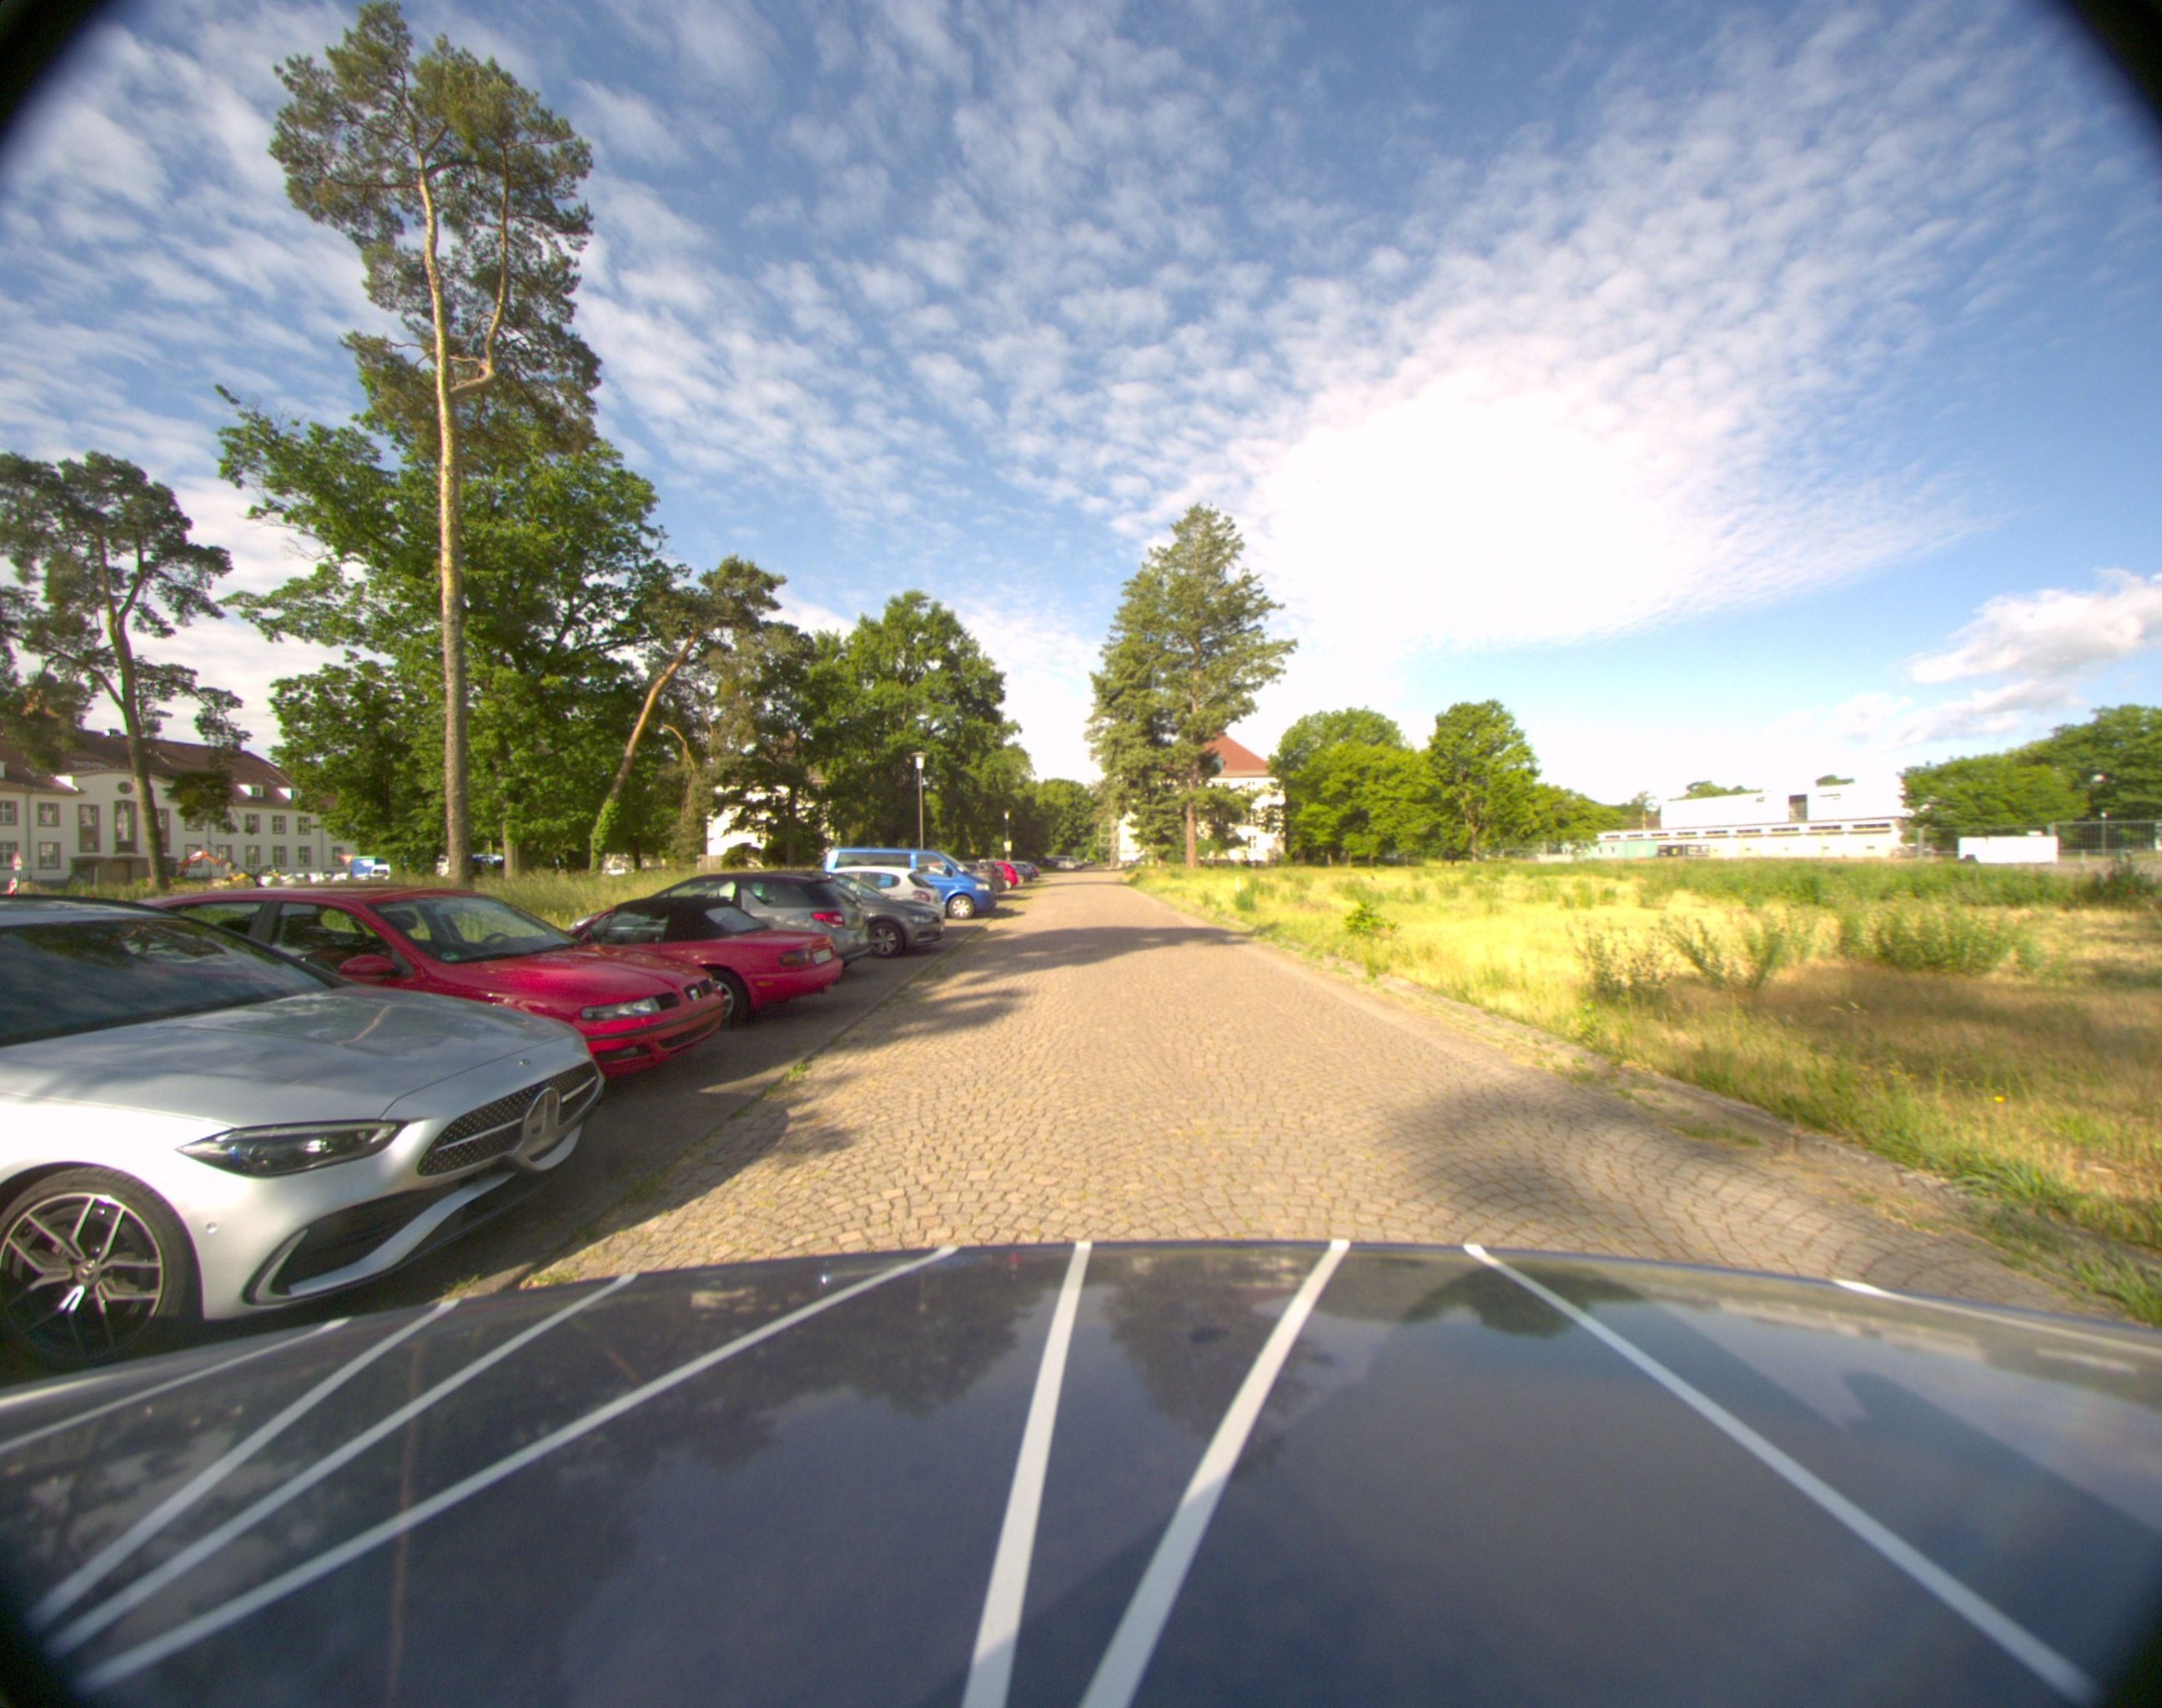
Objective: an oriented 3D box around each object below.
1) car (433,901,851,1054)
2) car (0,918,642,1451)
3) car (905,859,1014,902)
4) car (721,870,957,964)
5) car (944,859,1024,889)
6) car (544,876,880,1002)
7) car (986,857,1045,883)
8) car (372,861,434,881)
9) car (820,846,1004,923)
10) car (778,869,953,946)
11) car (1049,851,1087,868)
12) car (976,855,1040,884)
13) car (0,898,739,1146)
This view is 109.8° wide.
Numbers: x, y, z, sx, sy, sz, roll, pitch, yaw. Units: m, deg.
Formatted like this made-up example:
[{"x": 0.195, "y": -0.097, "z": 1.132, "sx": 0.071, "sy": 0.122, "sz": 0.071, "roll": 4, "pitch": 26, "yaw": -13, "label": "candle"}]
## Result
[{"x": -4.220, "y": 1.172, "z": 7.665, "sx": 3.357, "sy": 1.248, "sz": 1.420, "roll": -1, "pitch": 0, "yaw": -1, "label": "car"}, {"x": -4.558, "y": 1.049, "z": 3.118, "sx": 4.423, "sy": 1.394, "sz": 1.826, "roll": 1, "pitch": 0, "yaw": -1, "label": "car"}, {"x": -4.822, "y": 1.043, "z": 30.478, "sx": 3.996, "sy": 1.630, "sz": 1.757, "roll": -1, "pitch": 0, "yaw": 3, "label": "car"}, {"x": -4.170, "y": 1.056, "z": 13.305, "sx": 3.621, "sy": 1.482, "sz": 1.509, "roll": -1, "pitch": 0, "yaw": 9, "label": "car"}, {"x": -5.150, "y": 1.062, "z": 40.838, "sx": 3.996, "sy": 1.509, "sz": 1.757, "roll": -1, "pitch": 0, "yaw": 3, "label": "car"}, {"x": -4.842, "y": 1.086, "z": 10.343, "sx": 3.779, "sy": 1.482, "sz": 1.549, "roll": -1, "pitch": 0, "yaw": -1, "label": "car"}, {"x": -4.771, "y": 1.149, "z": 55.817, "sx": 3.996, "sy": 1.605, "sz": 1.757, "roll": -4, "pitch": 1, "yaw": 4, "label": "car"}, {"x": -68.940, "y": 1.698, "z": 77.400, "sx": 1.998, "sy": 2.002, "sz": 4.773, "roll": -1, "pitch": 0, "yaw": 1, "label": "car"}, {"x": -4.672, "y": 0.828, "z": 21.542, "sx": 4.726, "sy": 2.002, "sz": 2.000, "roll": -1, "pitch": 0, "yaw": 1, "label": "car"}, {"x": -4.506, "y": 1.101, "z": 16.156, "sx": 3.264, "sy": 1.482, "sz": 1.449, "roll": -1, "pitch": 0, "yaw": 2, "label": "car"}, {"x": -1.766, "y": 0.725, "z": 104.492, "sx": 5.068, "sy": 2.251, "sz": 2.000, "roll": -1, "pitch": 0, "yaw": 0, "label": "car"}, {"x": -4.872, "y": 1.034, "z": 51.025, "sx": 3.996, "sy": 1.731, "sz": 1.757, "roll": -3, "pitch": 0, "yaw": 3, "label": "car"}, {"x": -4.763, "y": 1.064, "z": 5.394, "sx": 3.918, "sy": 1.385, "sz": 1.661, "roll": 0, "pitch": 0, "yaw": -1, "label": "car"}]
